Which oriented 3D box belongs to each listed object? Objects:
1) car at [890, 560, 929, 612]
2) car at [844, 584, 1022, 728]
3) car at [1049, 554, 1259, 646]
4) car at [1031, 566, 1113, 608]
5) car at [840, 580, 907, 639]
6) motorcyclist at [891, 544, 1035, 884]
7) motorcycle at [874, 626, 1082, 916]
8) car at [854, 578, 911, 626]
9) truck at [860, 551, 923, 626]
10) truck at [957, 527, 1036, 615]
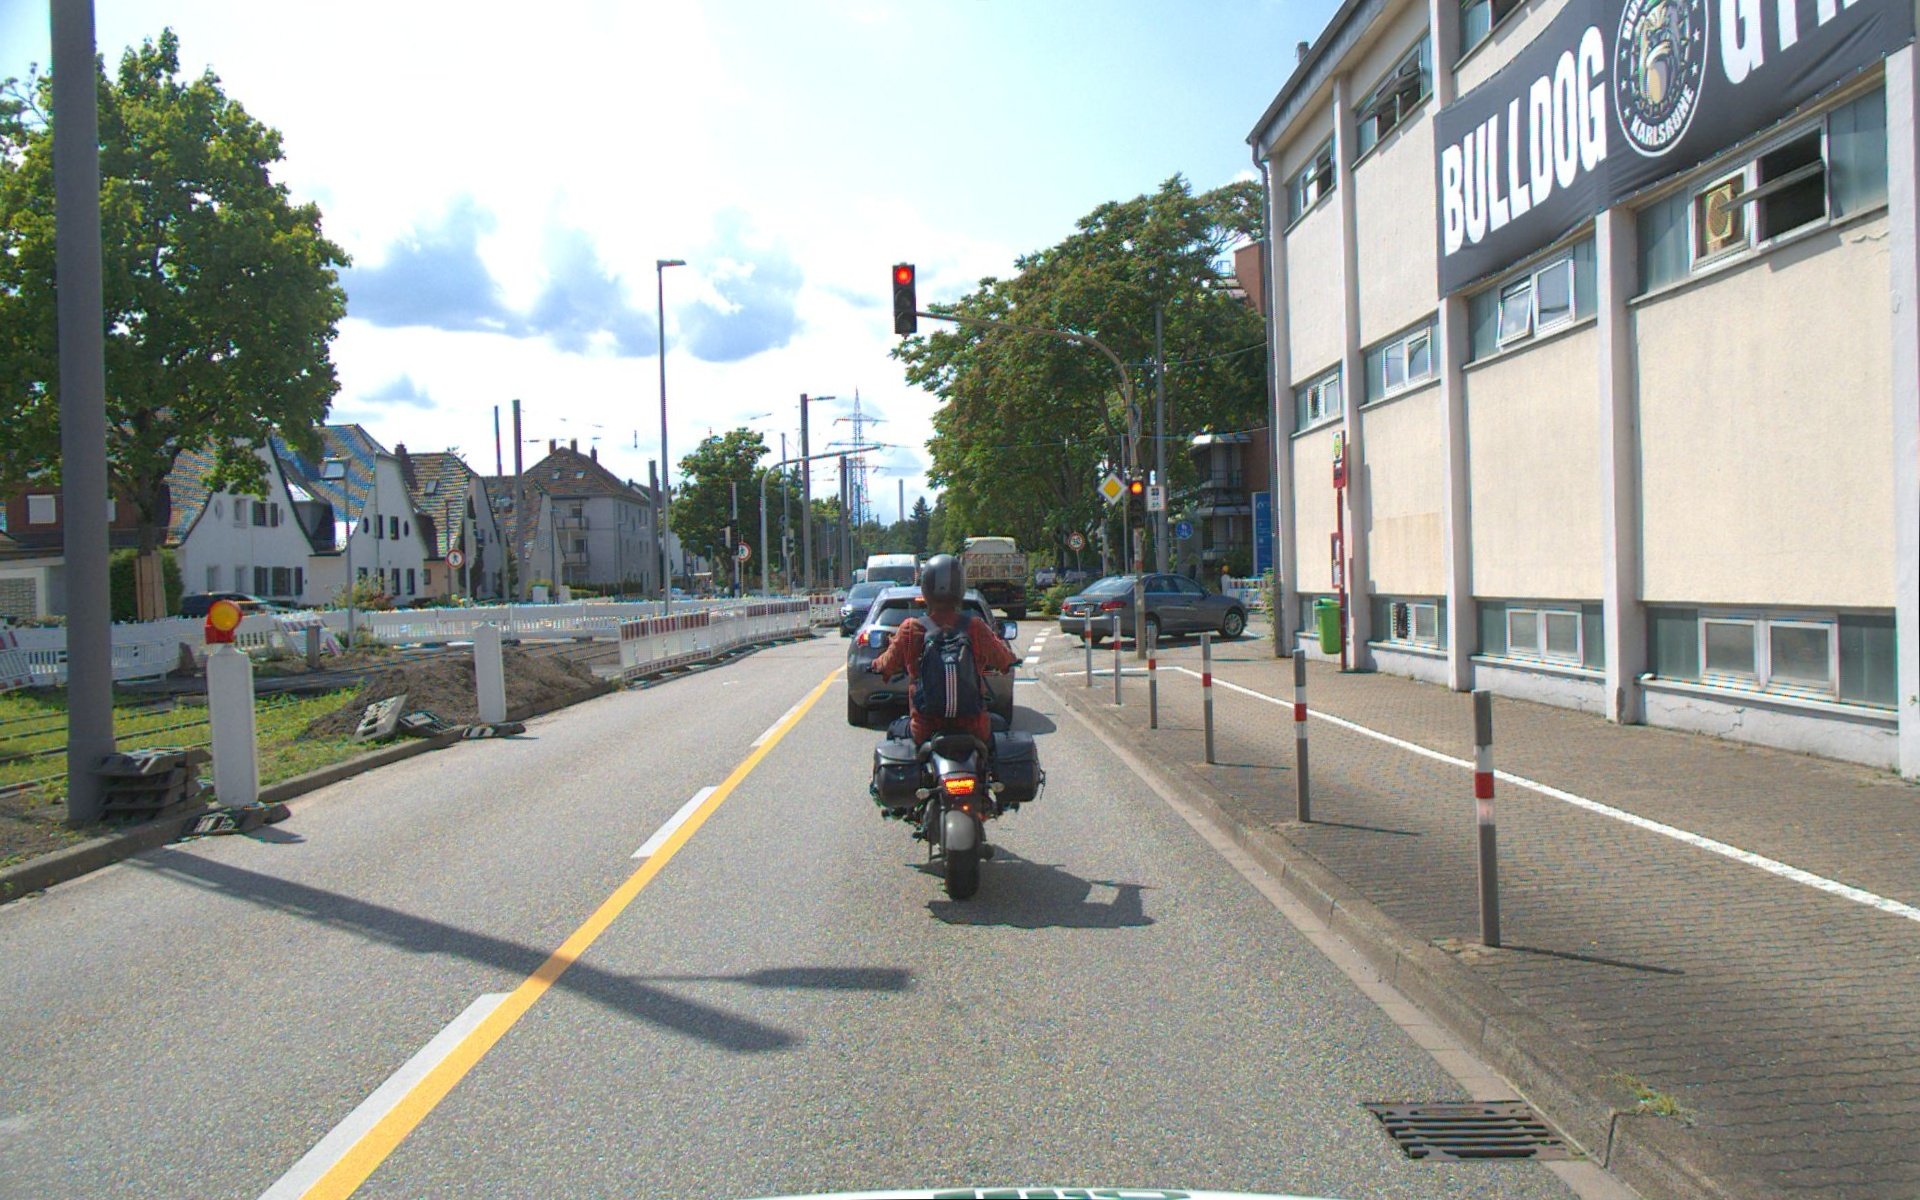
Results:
[{"bbox_3d":[-2.176,-0.592,71.604,1.556,2.180,3.626,0,0,0],"label":"car"},{"bbox_3d":[-0.411,0.546,18.669,1.698,1.428,4.082,1,1,-5],"label":"car"},{"bbox_3d":[4.212,-0.046,35.462,4.681,1.742,1.878,-3,2,-43],"label":"car"},{"bbox_3d":[5.307,-0.603,78.126,1.773,1.959,3.972,0,0,44],"label":"car"},{"bbox_3d":[-2.361,0.229,46.059,1.611,1.524,4.269,-1,1,0],"label":"car"},{"bbox_3d":[0.009,0.546,8.292,0.684,1.632,0.692,0,0,-1],"label":"motorcyclist"},{"bbox_3d":[0.060,0.787,8.627,0.923,1.221,2.472,0,1,-1],"label":"motorcycle"},{"bbox_3d":[-2.512,0.062,54.462,1.709,1.462,4.082,-2,0,-1],"label":"car"},{"bbox_3d":[-2.508,-0.490,61.685,2.050,2.519,5.196,-3,2,0],"label":"truck"},{"bbox_3d":[1.443,-1.073,64.879,2.906,3.228,7.765,0,0,2],"label":"truck"}]
